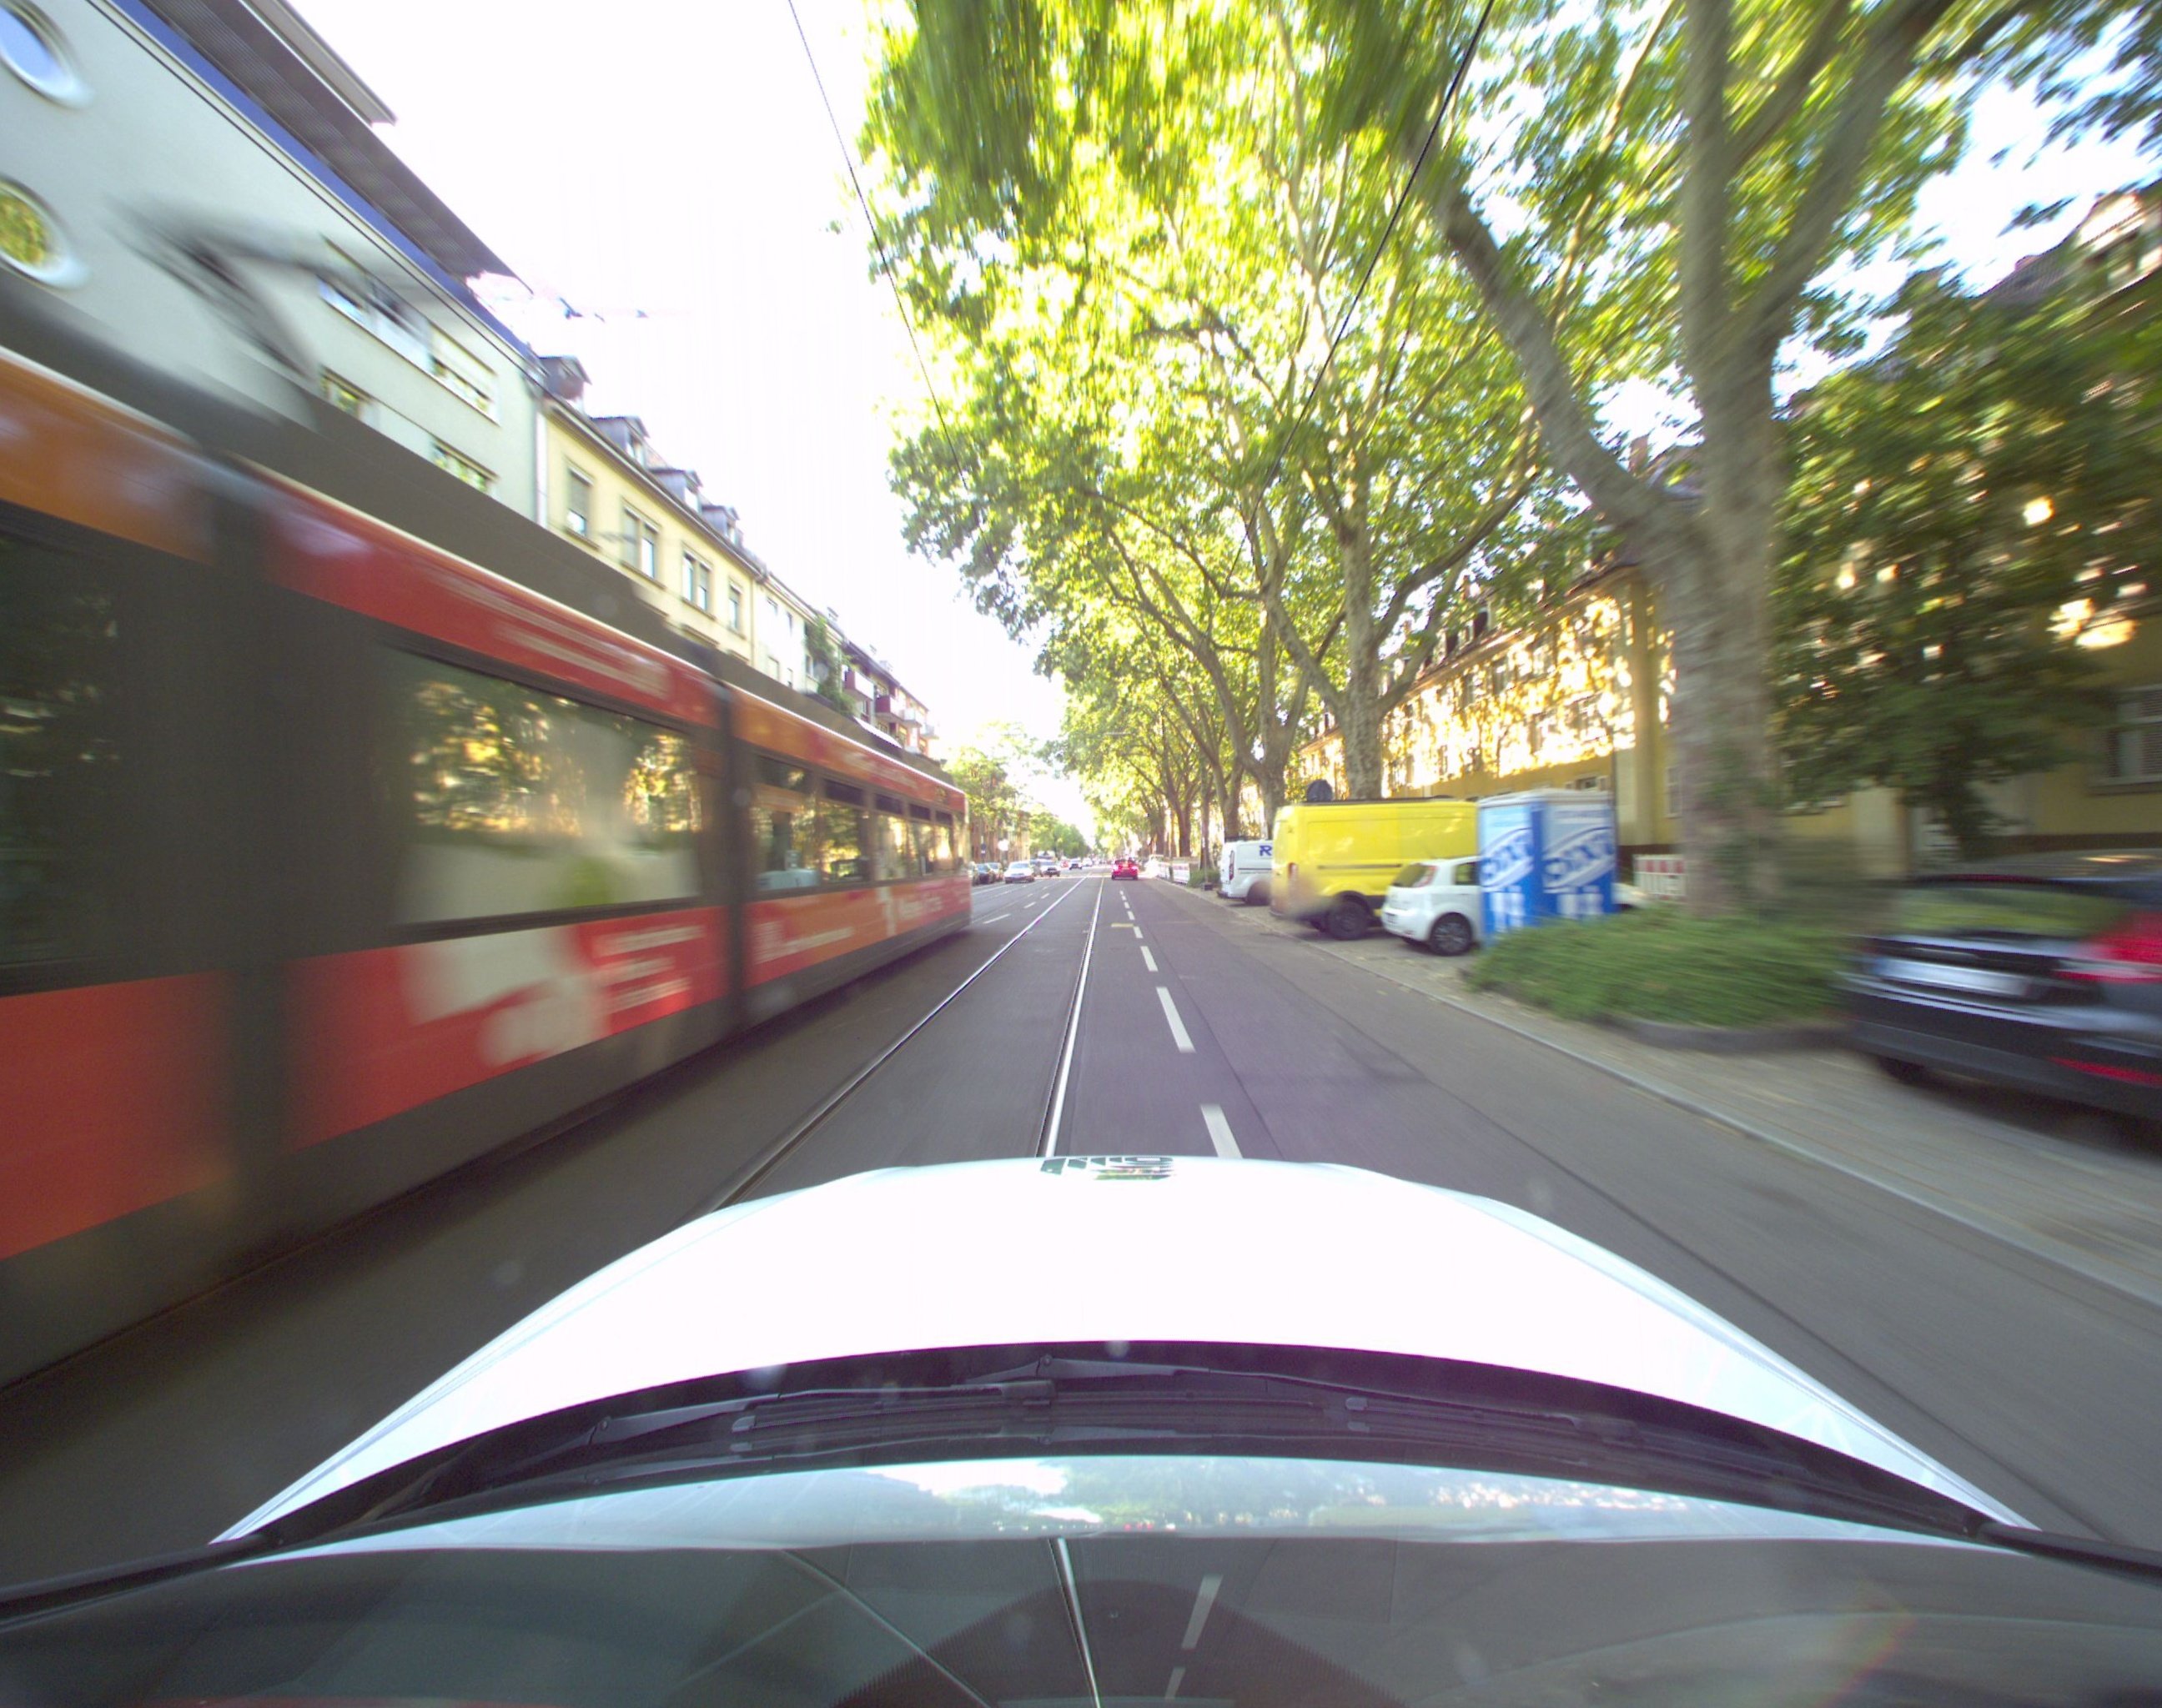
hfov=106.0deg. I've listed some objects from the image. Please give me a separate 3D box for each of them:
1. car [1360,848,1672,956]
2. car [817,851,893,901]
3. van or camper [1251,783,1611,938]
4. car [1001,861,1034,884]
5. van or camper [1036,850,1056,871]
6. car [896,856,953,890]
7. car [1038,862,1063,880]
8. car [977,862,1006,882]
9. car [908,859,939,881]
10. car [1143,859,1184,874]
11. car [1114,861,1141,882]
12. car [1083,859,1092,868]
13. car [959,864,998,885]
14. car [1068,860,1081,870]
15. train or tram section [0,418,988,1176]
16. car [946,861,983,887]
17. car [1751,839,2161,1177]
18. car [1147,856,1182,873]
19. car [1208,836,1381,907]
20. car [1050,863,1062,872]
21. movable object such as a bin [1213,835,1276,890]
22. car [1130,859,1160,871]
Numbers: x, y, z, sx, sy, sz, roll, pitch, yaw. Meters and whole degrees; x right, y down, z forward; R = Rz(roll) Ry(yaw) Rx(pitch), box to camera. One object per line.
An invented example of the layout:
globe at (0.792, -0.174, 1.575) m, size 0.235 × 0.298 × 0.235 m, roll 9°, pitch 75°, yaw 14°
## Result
car at (6.634, 0.707, 12.788) m, size 3.889 × 1.489 × 1.865 m, roll -1°, pitch 0°, yaw 3°
car at (-8.684, 0.801, 31.652) m, size 1.783 × 1.771 × 4.468 m, roll -1°, pitch 0°, yaw -1°
van or camper at (6.420, 0.161, 15.627) m, size 5.900 × 2.629 × 2.272 m, roll -1°, pitch -2°, yaw 3°
car at (-4.359, 1.257, 56.380) m, size 1.789 × 1.446 × 4.717 m, roll 1°, pitch -1°, yaw 1°
van or camper at (-5.292, 1.033, 124.277) m, size 2.328 × 3.041 × 6.401 m, roll 2°, pitch -1°, yaw 3°
car at (-8.058, 0.968, 42.420) m, size 1.945 × 1.648 × 4.882 m, roll 1°, pitch -1°, yaw 1°
car at (-2.661, 1.486, 71.749) m, size 1.789 × 1.446 × 4.055 m, roll -2°, pitch -1°, yaw 2°
car at (-6.939, 1.393, 63.669) m, size 1.719 × 1.483 × 3.930 m, roll 2°, pitch -1°, yaw 1°
car at (-16.271, 1.649, 83.968) m, size 2.004 × 2.123 × 4.682 m, roll 0°, pitch -1°, yaw -26°
car at (8.726, 1.372, 86.380) m, size 4.074 × 1.521 × 1.916 m, roll -1°, pitch -2°, yaw 0°
car at (3.203, 1.176, 56.077) m, size 1.785 × 1.389 × 4.238 m, roll 0°, pitch -1°, yaw 2°
car at (1.337, 2.060, 170.474) m, size 1.884 × 1.832 × 4.896 m, roll -1°, pitch -1°, yaw 2°
car at (-7.262, 1.429, 58.260) m, size 1.944 × 1.395 × 4.866 m, roll 2°, pitch -1°, yaw 3°
car at (-0.976, 1.663, 124.246) m, size 1.846 × 1.600 × 4.464 m, roll 1°, pitch -1°, yaw 1°
train or tram section at (-3.753, -0.199, 10.887) m, size 2.897 × 3.486 × 14.203 m, roll -1°, pitch -1°, yaw 2°
car at (-7.570, 1.273, 53.239) m, size 1.813 × 1.587 × 4.004 m, roll 0°, pitch -1°, yaw 0°
car at (6.230, 0.642, 4.509) m, size 3.643 × 1.427 × 1.736 m, roll -2°, pitch -1°, yaw -2°
car at (9.283, 1.154, 90.656) m, size 3.825 × 1.772 × 1.919 m, roll -1°, pitch -1°, yaw 5°
car at (6.481, 0.531, 25.212) m, size 4.817 × 2.013 × 2.064 m, roll -1°, pitch 0°, yaw 1°
car at (-4.528, 2.431, 147.464) m, size 1.830 × 1.468 × 5.068 m, roll 2°, pitch -1°, yaw 0°
movable object such as a bin at (7.143, 0.361, 35.374) m, size 1.467 × 2.269 × 3.297 m, roll -1°, pitch -1°, yaw 35°
car at (9.931, 1.717, 125.417) m, size 4.474 × 1.602 × 2.030 m, roll -3°, pitch -1°, yaw 5°
